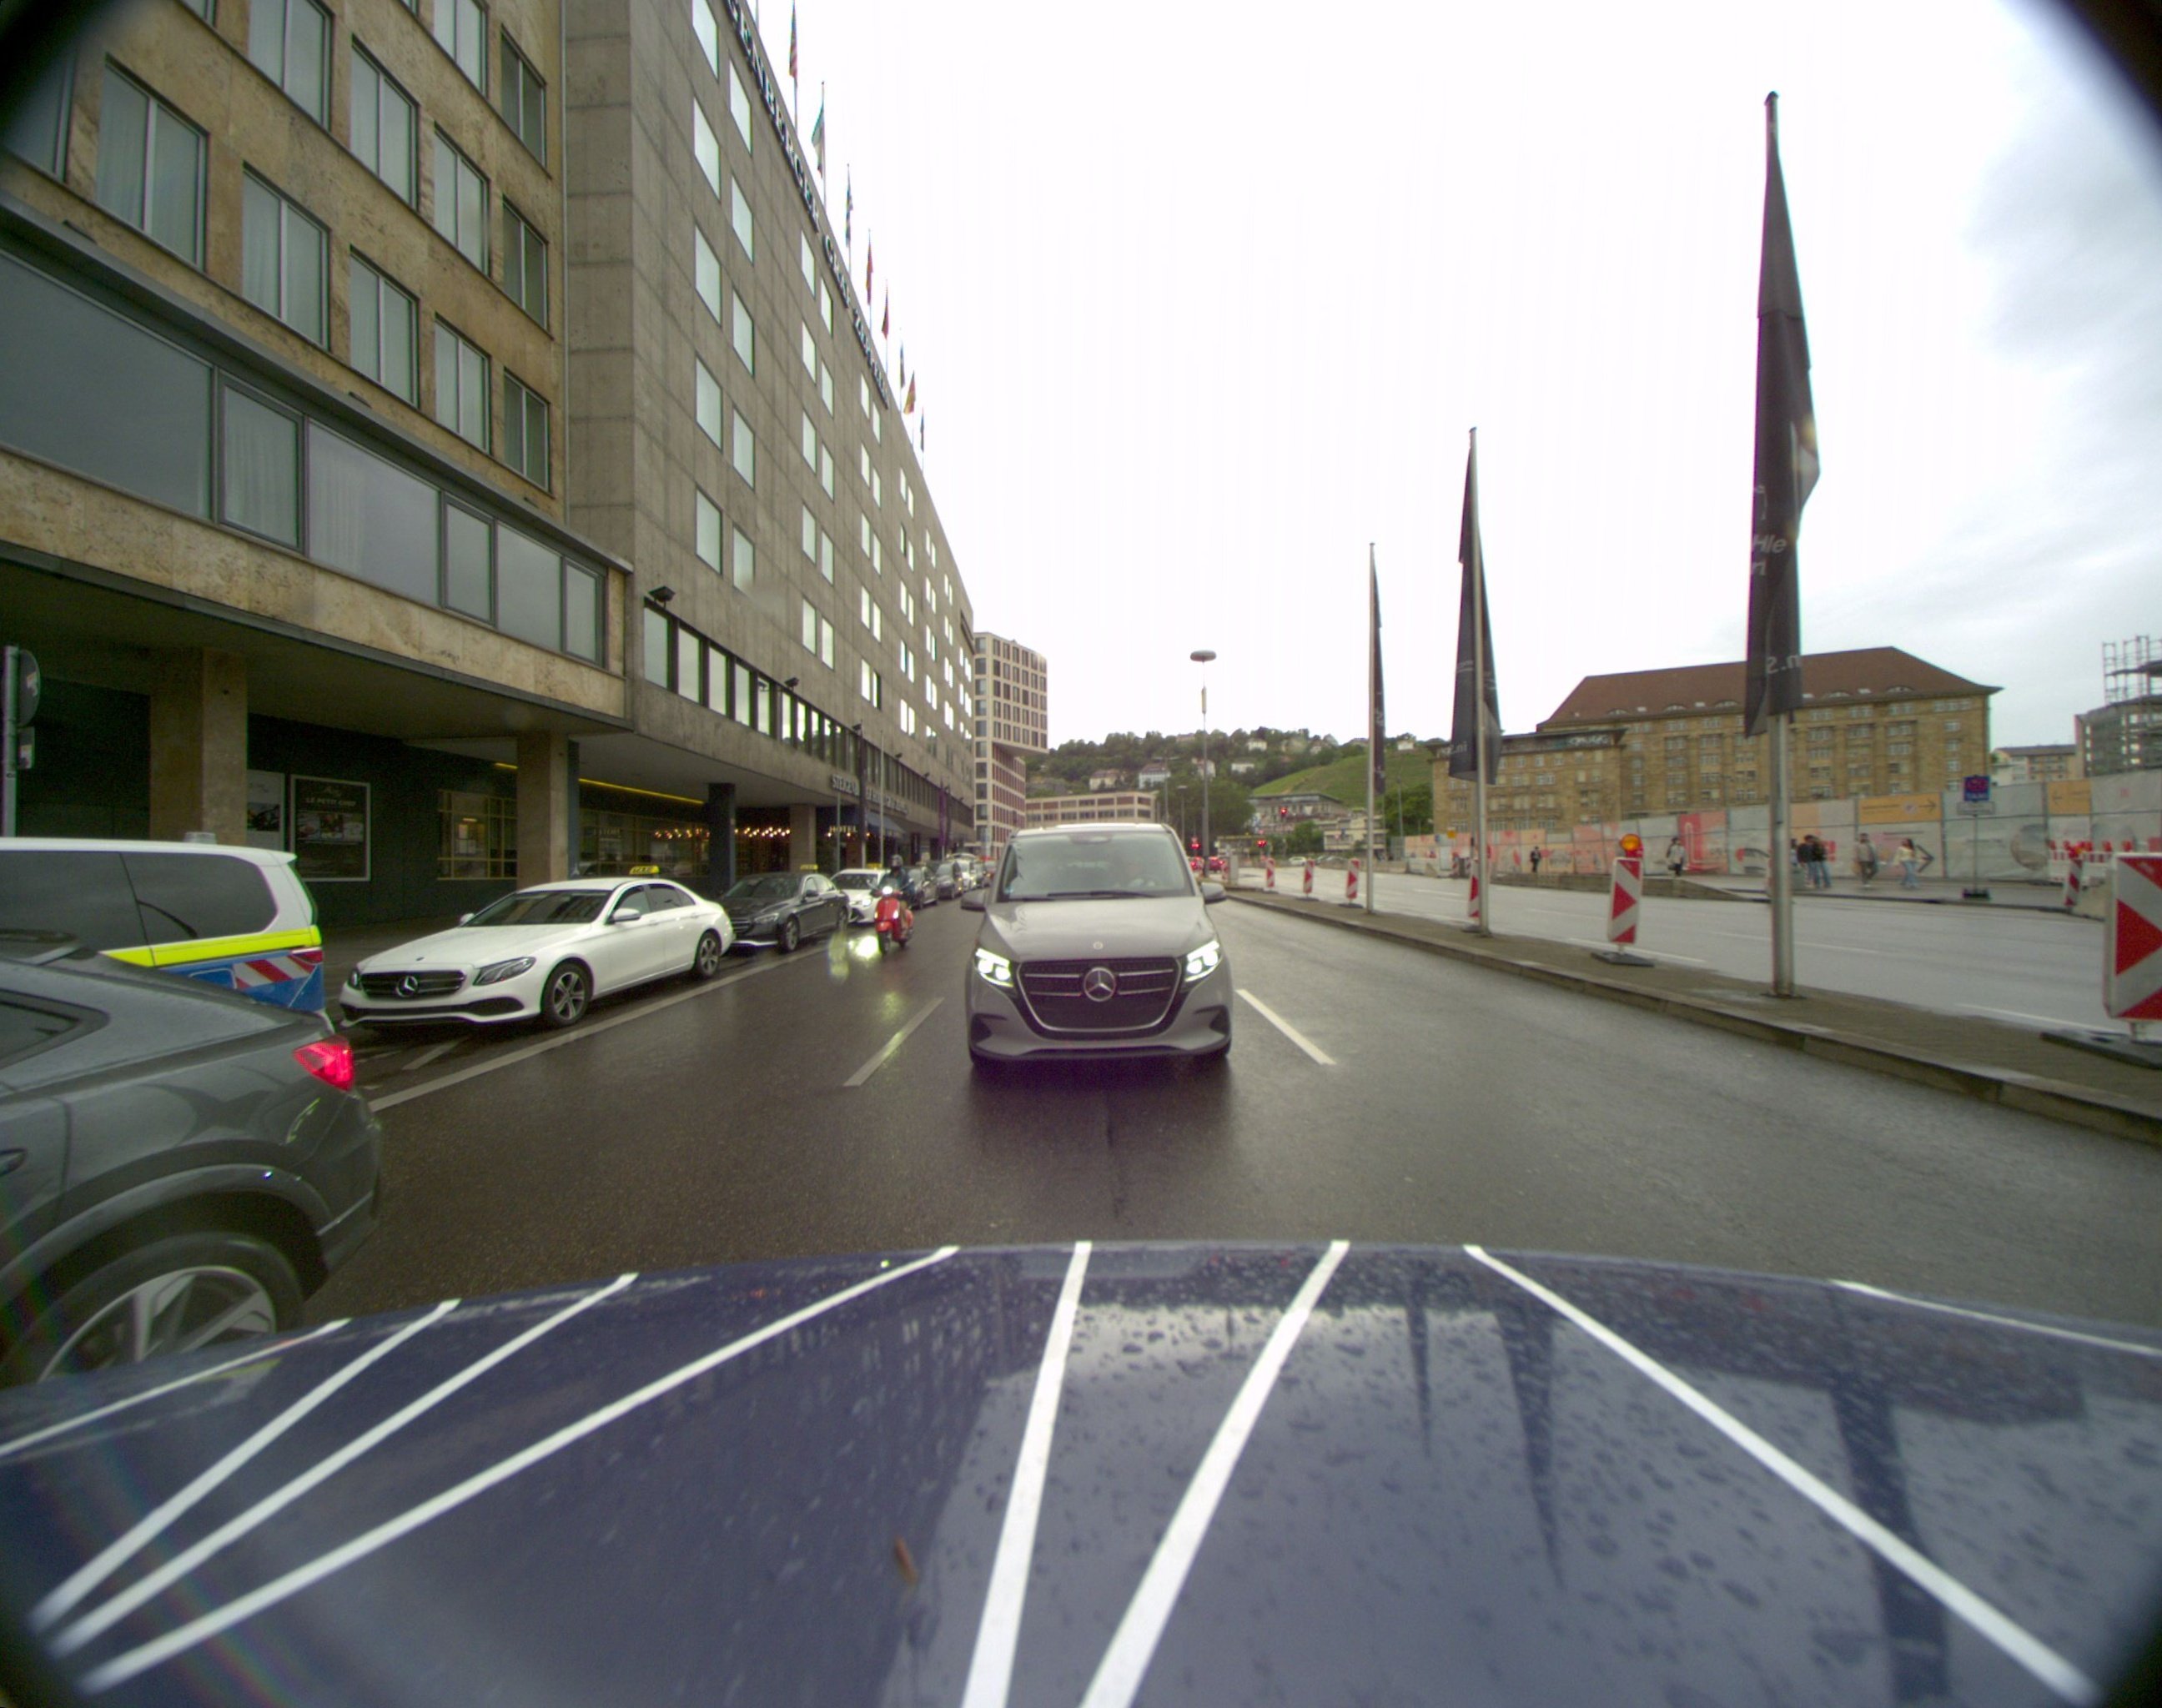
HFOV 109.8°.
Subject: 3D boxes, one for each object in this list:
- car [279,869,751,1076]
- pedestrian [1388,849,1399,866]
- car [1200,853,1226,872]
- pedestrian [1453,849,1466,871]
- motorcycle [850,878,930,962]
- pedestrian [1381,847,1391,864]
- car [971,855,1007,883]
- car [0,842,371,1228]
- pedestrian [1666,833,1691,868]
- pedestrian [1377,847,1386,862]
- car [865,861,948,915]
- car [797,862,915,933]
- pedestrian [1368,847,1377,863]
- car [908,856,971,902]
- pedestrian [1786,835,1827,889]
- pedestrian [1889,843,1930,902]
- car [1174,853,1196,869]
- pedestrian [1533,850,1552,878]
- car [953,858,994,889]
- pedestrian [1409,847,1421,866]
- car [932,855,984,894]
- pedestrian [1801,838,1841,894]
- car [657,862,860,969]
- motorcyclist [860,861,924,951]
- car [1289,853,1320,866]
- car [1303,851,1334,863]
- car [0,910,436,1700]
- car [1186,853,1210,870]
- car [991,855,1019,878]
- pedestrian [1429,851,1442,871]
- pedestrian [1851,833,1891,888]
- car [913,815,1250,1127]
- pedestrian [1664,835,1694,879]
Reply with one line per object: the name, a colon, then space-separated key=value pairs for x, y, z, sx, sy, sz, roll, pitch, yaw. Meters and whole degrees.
car: x=-6.093 y=1.100 z=9.229 sx=1.879 sy=1.628 sz=5.010 roll=-2 pitch=1 yaw=0
pedestrian: x=28.857 y=0.325 z=70.222 sx=0.715 sy=1.606 sz=0.544 roll=-2 pitch=1 yaw=1
car: x=12.544 y=0.805 z=72.318 sx=1.785 sy=1.684 sz=3.916 roll=-1 pitch=0 yaw=0
pedestrian: x=28.420 y=0.423 z=57.074 sx=0.715 sy=1.606 sz=0.544 roll=-2 pitch=1 yaw=1
motorcycle: x=-3.368 y=1.125 z=13.587 sx=0.848 sy=1.299 sz=1.965 roll=-2 pitch=1 yaw=1
pedestrian: x=30.272 y=0.150 z=75.486 sx=0.715 sy=1.606 sz=0.544 roll=-2 pitch=1 yaw=1
car: x=-5.872 y=0.914 z=48.909 sx=1.731 sy=1.604 sz=4.001 roll=-2 pitch=1 yaw=0
car: x=-6.324 y=0.936 z=3.226 sx=1.879 sy=1.909 sz=4.935 roll=-2 pitch=1 yaw=0
pedestrian: x=28.102 y=-0.183 z=35.737 sx=0.715 sy=1.606 sz=0.544 roll=-2 pitch=1 yaw=1
pedestrian: x=31.740 y=0.054 z=80.230 sx=0.715 sy=1.606 sz=0.544 roll=-2 pitch=1 yaw=11
car: x=-6.045 y=1.121 z=26.855 sx=1.731 sy=1.583 sz=4.814 roll=-2 pitch=1 yaw=0
car: x=-6.042 y=1.091 z=21.040 sx=1.731 sy=1.583 sz=4.814 roll=-2 pitch=1 yaw=0
pedestrian: x=30.877 y=0.086 z=80.425 sx=0.715 sy=1.606 sz=0.544 roll=-2 pitch=1 yaw=10
car: x=-6.052 y=0.997 z=33.026 sx=1.731 sy=1.732 sz=4.814 roll=-2 pitch=1 yaw=0
pedestrian: x=23.785 y=0.265 z=24.907 sx=0.714 sy=1.723 sz=0.718 roll=-2 pitch=1 yaw=19
pedestrian: x=26.056 y=0.584 z=23.899 sx=0.661 sy=1.825 sz=0.556 roll=-2 pitch=1 yaw=21
car: x=11.828 y=0.737 z=86.449 sx=1.785 sy=1.684 sz=3.916 roll=-2 pitch=1 yaw=-1
pedestrian: x=26.355 y=0.564 z=43.440 sx=0.715 sy=1.606 sz=0.544 roll=-2 pitch=1 yaw=1
car: x=-6.125 y=1.065 z=43.731 sx=1.731 sy=1.604 sz=4.001 roll=-2 pitch=1 yaw=0
pedestrian: x=28.014 y=0.194 z=63.754 sx=0.715 sy=1.606 sz=0.544 roll=-2 pitch=1 yaw=1
car: x=-6.090 y=0.957 z=38.223 sx=1.731 sy=1.732 sz=4.814 roll=-2 pitch=1 yaw=0
pedestrian: x=24.769 y=0.404 z=25.444 sx=0.714 sy=1.825 sz=0.718 roll=-2 pitch=1 yaw=19
car: x=-6.077 y=1.053 z=15.087 sx=1.879 sy=1.628 sz=4.814 roll=-2 pitch=1 yaw=0
motorcyclist: x=-3.378 y=0.902 z=13.627 sx=0.861 sy=1.519 sz=0.844 roll=-2 pitch=1 yaw=1
car: x=34.581 y=0.828 z=117.576 sx=4.194 sy=1.846 sz=1.832 roll=-2 pitch=1 yaw=6
car: x=32.744 y=0.434 z=104.803 sx=3.993 sy=1.622 sz=2.002 roll=-1 pitch=0 yaw=14
car: x=-3.147 y=0.987 z=0.344 sx=1.883 sy=1.493 sz=4.342 roll=-2 pitch=1 yaw=1
car: x=12.197 y=0.780 z=79.341 sx=1.785 sy=1.684 sz=3.916 roll=-2 pitch=1 yaw=-1
car: x=-5.904 y=0.964 z=59.230 sx=1.731 sy=1.604 sz=4.001 roll=-2 pitch=1 yaw=0
pedestrian: x=28.460 y=0.573 z=60.951 sx=0.715 sy=1.606 sz=0.544 roll=-2 pitch=1 yaw=1
pedestrian: x=25.450 y=0.202 z=24.485 sx=0.714 sy=1.734 sz=0.564 roll=-2 pitch=1 yaw=21
car: x=0.045 y=0.703 z=7.253 sx=1.998 sy=1.849 sz=5.160 roll=-2 pitch=1 yaw=1
pedestrian: x=25.475 y=0.109 z=32.372 sx=0.664 sy=1.825 sz=0.720 roll=-2 pitch=1 yaw=1
